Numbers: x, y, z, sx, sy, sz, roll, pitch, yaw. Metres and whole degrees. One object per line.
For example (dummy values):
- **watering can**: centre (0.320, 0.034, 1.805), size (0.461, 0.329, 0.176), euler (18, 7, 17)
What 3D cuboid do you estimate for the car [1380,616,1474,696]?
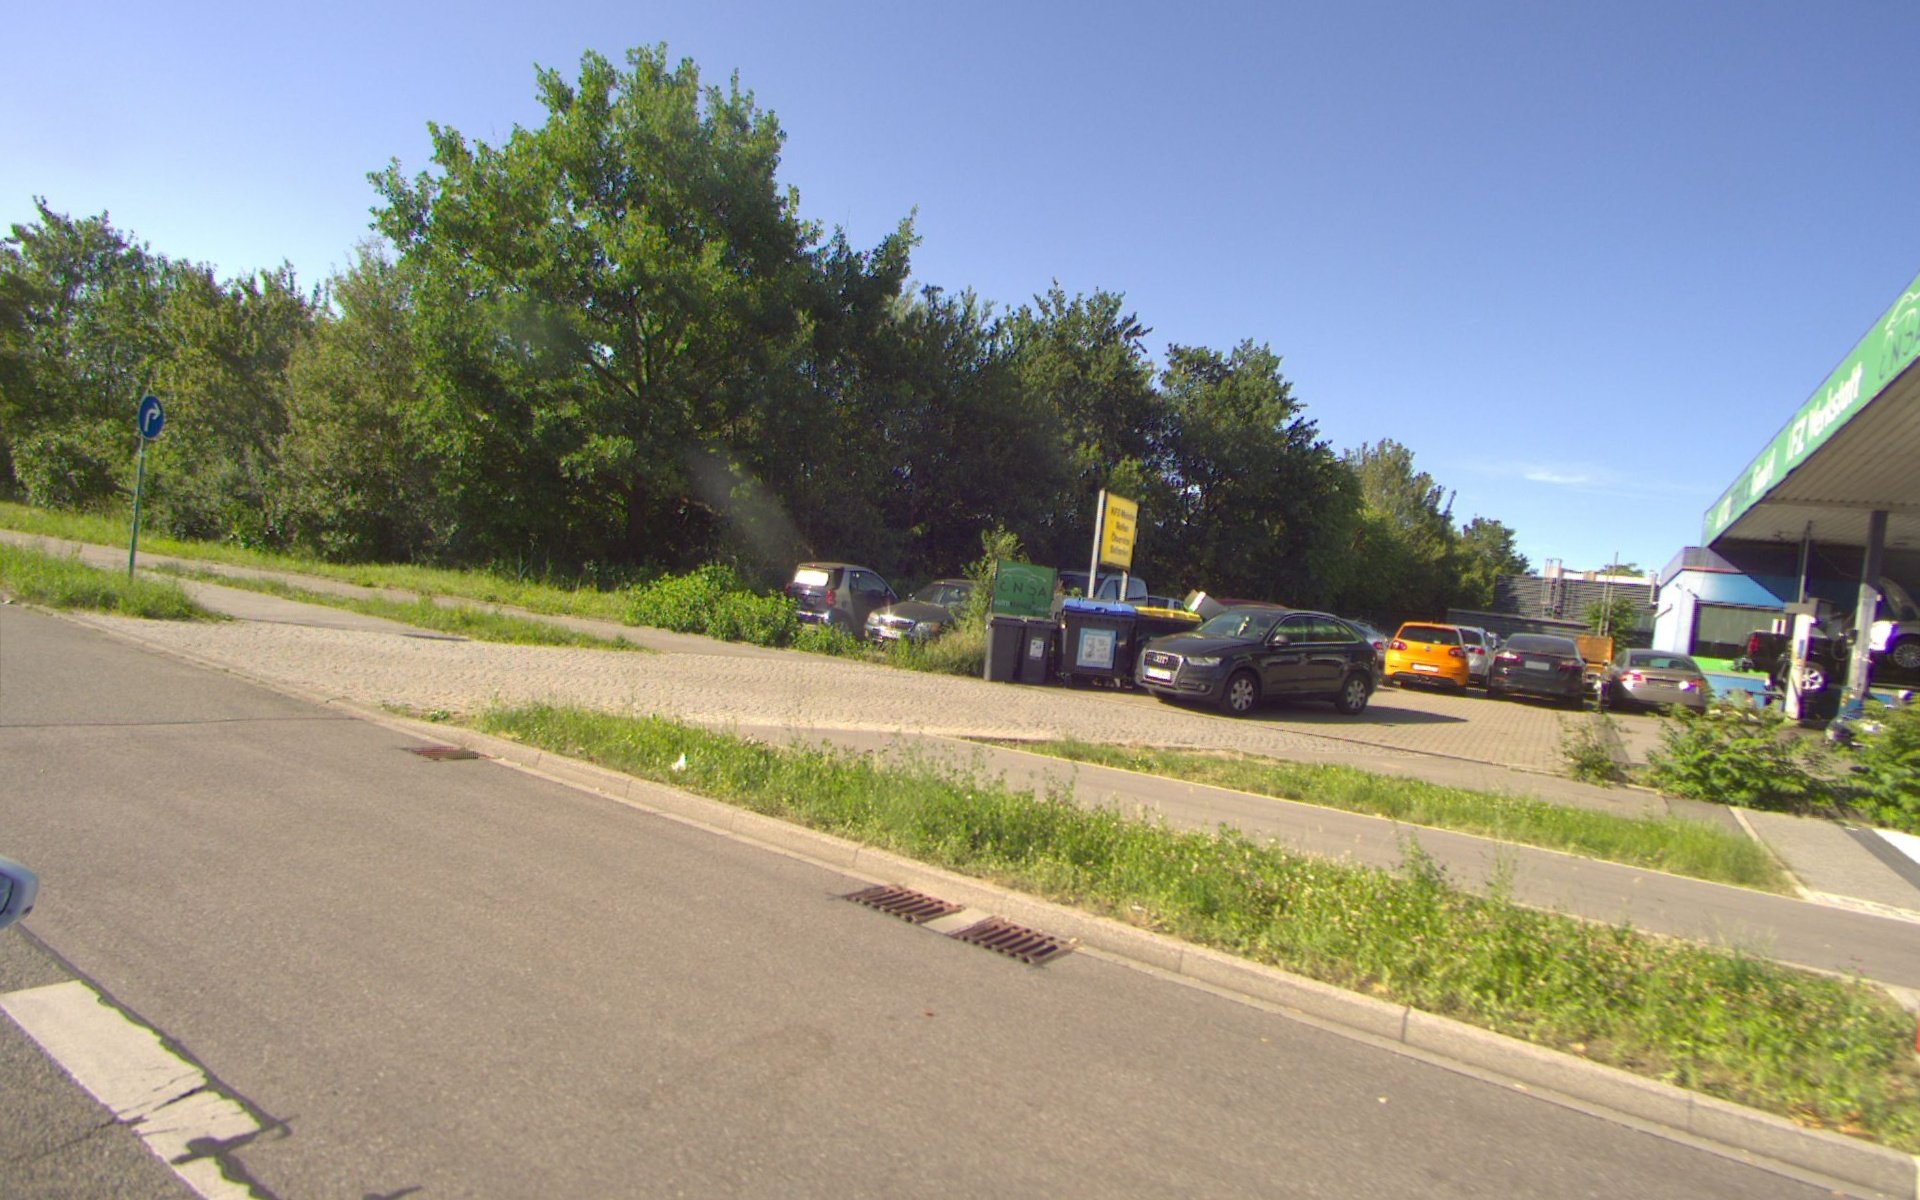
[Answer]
- **car**: centre (10.883, 1.280, 23.305), size (1.668, 1.536, 3.994), euler (6, 0, 27)

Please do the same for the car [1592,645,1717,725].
- **car**: centre (15.558, 1.849, 22.729), size (1.682, 1.435, 3.994), euler (6, 0, 27)

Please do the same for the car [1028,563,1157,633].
- **car**: centre (3.596, -0.008, 26.740), size (1.706, 1.551, 4.037), euler (7, 2, 33)

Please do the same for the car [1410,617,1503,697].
- **car**: centre (13.628, 1.611, 27.544), size (1.965, 1.803, 3.997), euler (7, -2, 28)

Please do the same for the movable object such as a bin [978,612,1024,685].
- **movable object such as a bin**: centre (0.658, 0.772, 16.152), size (0.501, 1.088, 0.581), euler (7, 0, -10)

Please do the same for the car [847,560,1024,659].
- **car**: centre (-0.392, 0.228, 19.211), size (1.700, 1.434, 3.289), euler (7, -2, 33)

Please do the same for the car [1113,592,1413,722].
- **car**: centre (4.827, 0.919, 15.862), size (4.506, 1.662, 1.787), euler (4, 2, -29)

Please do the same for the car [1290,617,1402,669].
- **car**: centre (14.648, 1.629, 38.227), size (3.643, 1.481, 1.611), euler (7, -1, 32)

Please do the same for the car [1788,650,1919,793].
- **car**: centre (12.952, 1.698, 12.177), size (4.179, 1.592, 1.746), euler (7, 0, 33)

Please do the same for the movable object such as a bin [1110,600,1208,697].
- **movable object such as a bin**: centre (3.356, 0.810, 17.070), size (1.204, 1.446, 0.986), euler (7, 1, -11)

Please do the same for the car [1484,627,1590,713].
- **car**: centre (12.714, 1.513, 22.364), size (1.705, 1.536, 3.994), euler (6, 0, 27)

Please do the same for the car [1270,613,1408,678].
- **car**: centre (11.695, 1.388, 31.080), size (3.643, 1.481, 1.611), euler (7, -1, 32)

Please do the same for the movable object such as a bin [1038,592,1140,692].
- **movable object such as a bin**: centre (2.094, 0.666, 16.462), size (1.240, 1.446, 0.987), euler (7, 0, -11)

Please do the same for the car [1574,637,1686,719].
- **car**: centre (18.033, 2.134, 27.258), size (1.965, 1.803, 3.997), euler (7, -2, 28)

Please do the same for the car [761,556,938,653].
- **car**: centre (-2.153, 0.137, 20.316), size (1.743, 1.503, 3.289), euler (7, -2, 33)

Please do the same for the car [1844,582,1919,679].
- **car**: centre (19.958, 0.754, 19.571), size (3.716, 1.777, 1.920), euler (6, 1, 33)

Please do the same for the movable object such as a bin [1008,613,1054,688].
- **movable object such as a bin**: centre (1.148, 0.816, 16.373), size (0.501, 1.135, 0.581), euler (7, 1, -10)

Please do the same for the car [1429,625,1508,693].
- **car**: centre (16.350, 1.936, 32.315), size (1.965, 1.803, 3.997), euler (7, -2, 28)

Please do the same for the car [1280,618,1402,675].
- **car**: centre (13.327, 1.606, 35.266), size (3.643, 1.481, 1.611), euler (7, -1, 32)

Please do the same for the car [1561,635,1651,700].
- **car**: centre (21.415, 2.300, 33.500), size (1.965, 1.803, 4.521), euler (7, -2, 28)

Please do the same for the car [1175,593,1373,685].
- **car**: centre (7.463, 0.924, 24.017), size (4.067, 1.626, 1.716), euler (7, -1, 32)

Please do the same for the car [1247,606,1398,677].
- **car**: centre (10.217, 1.156, 28.433), size (3.643, 1.481, 1.611), euler (7, -1, 32)

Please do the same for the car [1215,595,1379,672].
- **car**: centre (8.730, 0.853, 26.141), size (3.643, 1.481, 1.611), euler (7, -1, 32)

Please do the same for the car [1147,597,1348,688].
- **car**: centre (6.371, 0.930, 22.408), size (3.851, 1.481, 1.727), euler (7, -1, 32)

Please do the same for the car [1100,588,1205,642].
- **car**: centre (6.030, 0.501, 31.194), size (1.706, 1.404, 4.037), euler (7, 2, 33)

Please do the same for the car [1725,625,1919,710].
- **car**: centre (19.952, 1.544, 23.053), size (3.568, 1.496, 1.920), euler (6, 1, 33)
